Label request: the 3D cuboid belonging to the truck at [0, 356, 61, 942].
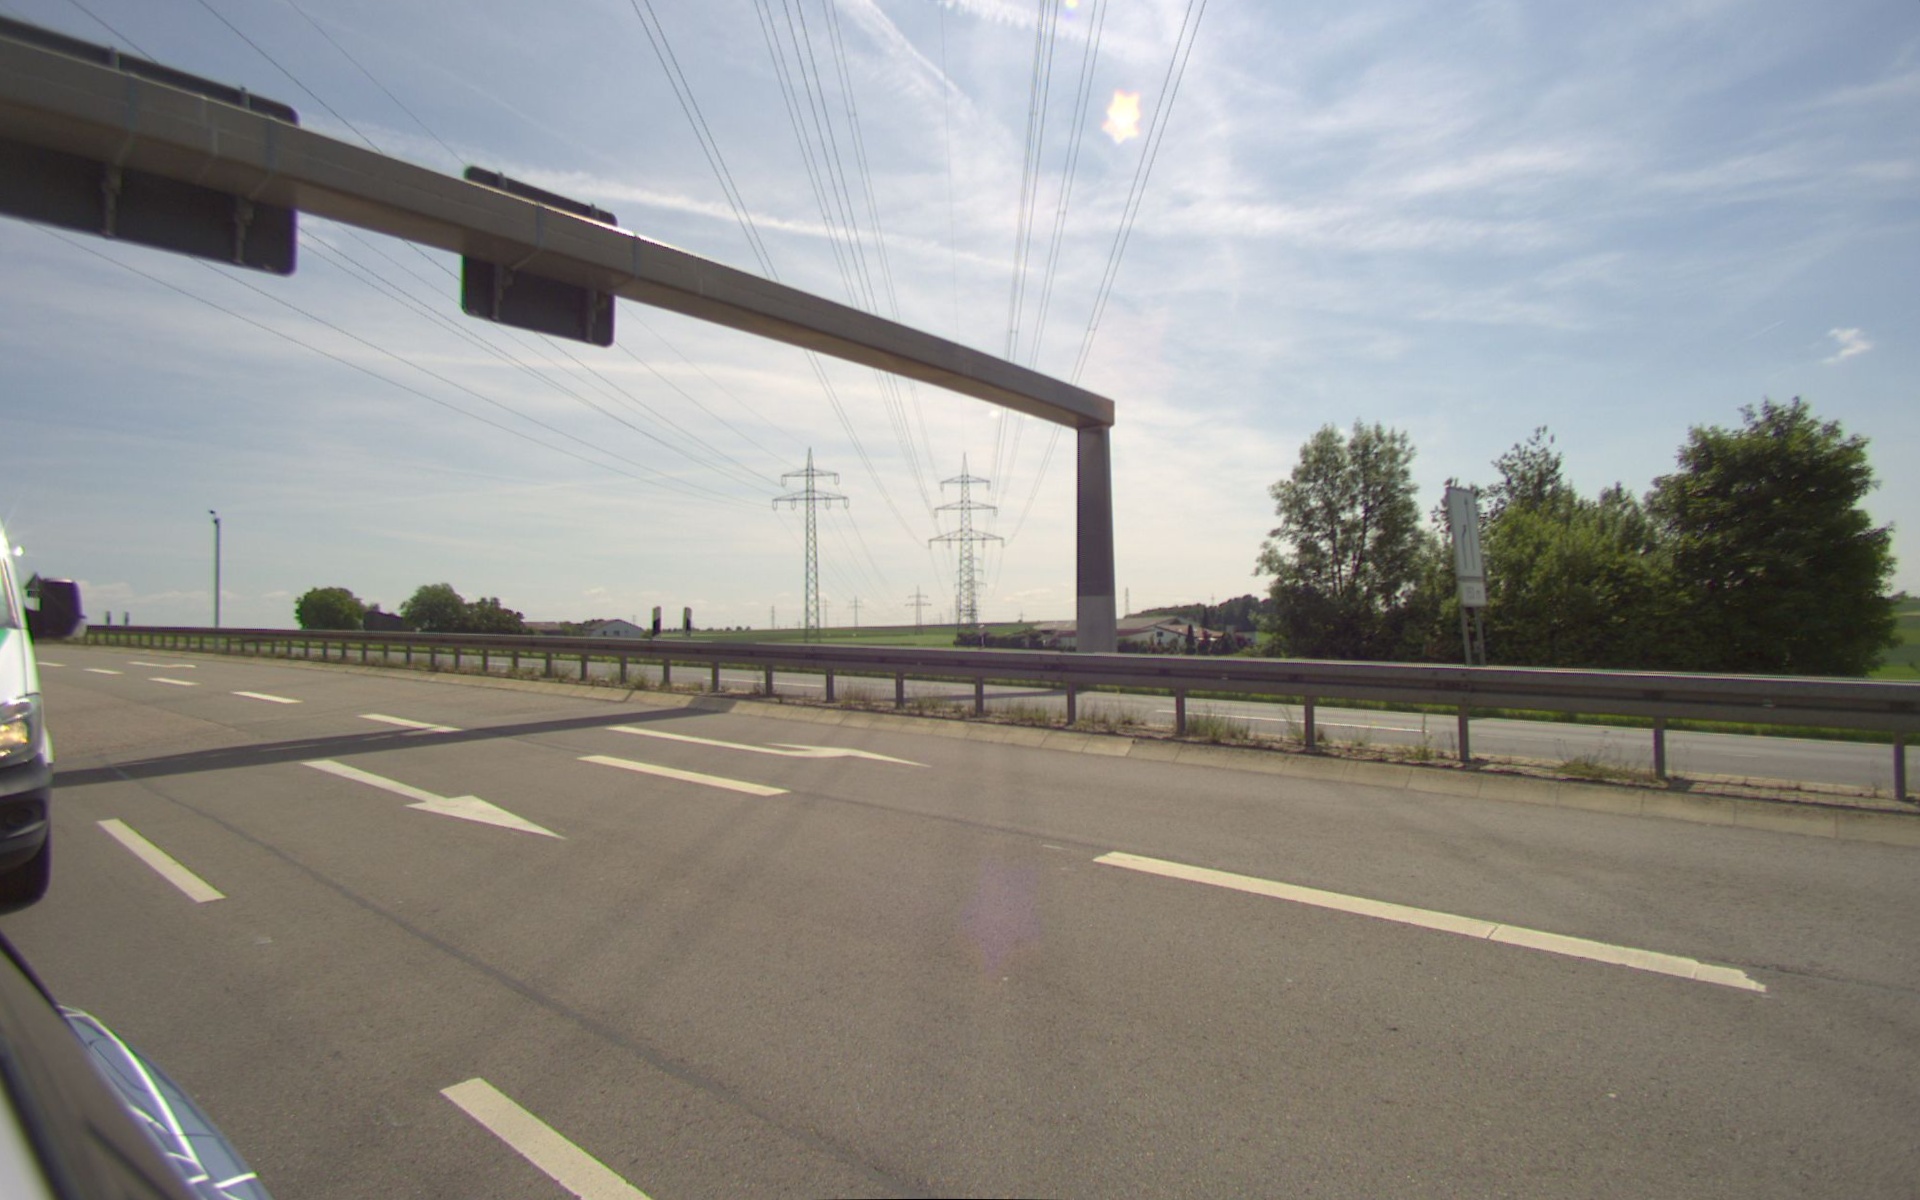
[{"bbox_3d":[-6.582,0.239,5.553,5.104,2.552,1.972,-1,-1,43],"label":"truck"}]
